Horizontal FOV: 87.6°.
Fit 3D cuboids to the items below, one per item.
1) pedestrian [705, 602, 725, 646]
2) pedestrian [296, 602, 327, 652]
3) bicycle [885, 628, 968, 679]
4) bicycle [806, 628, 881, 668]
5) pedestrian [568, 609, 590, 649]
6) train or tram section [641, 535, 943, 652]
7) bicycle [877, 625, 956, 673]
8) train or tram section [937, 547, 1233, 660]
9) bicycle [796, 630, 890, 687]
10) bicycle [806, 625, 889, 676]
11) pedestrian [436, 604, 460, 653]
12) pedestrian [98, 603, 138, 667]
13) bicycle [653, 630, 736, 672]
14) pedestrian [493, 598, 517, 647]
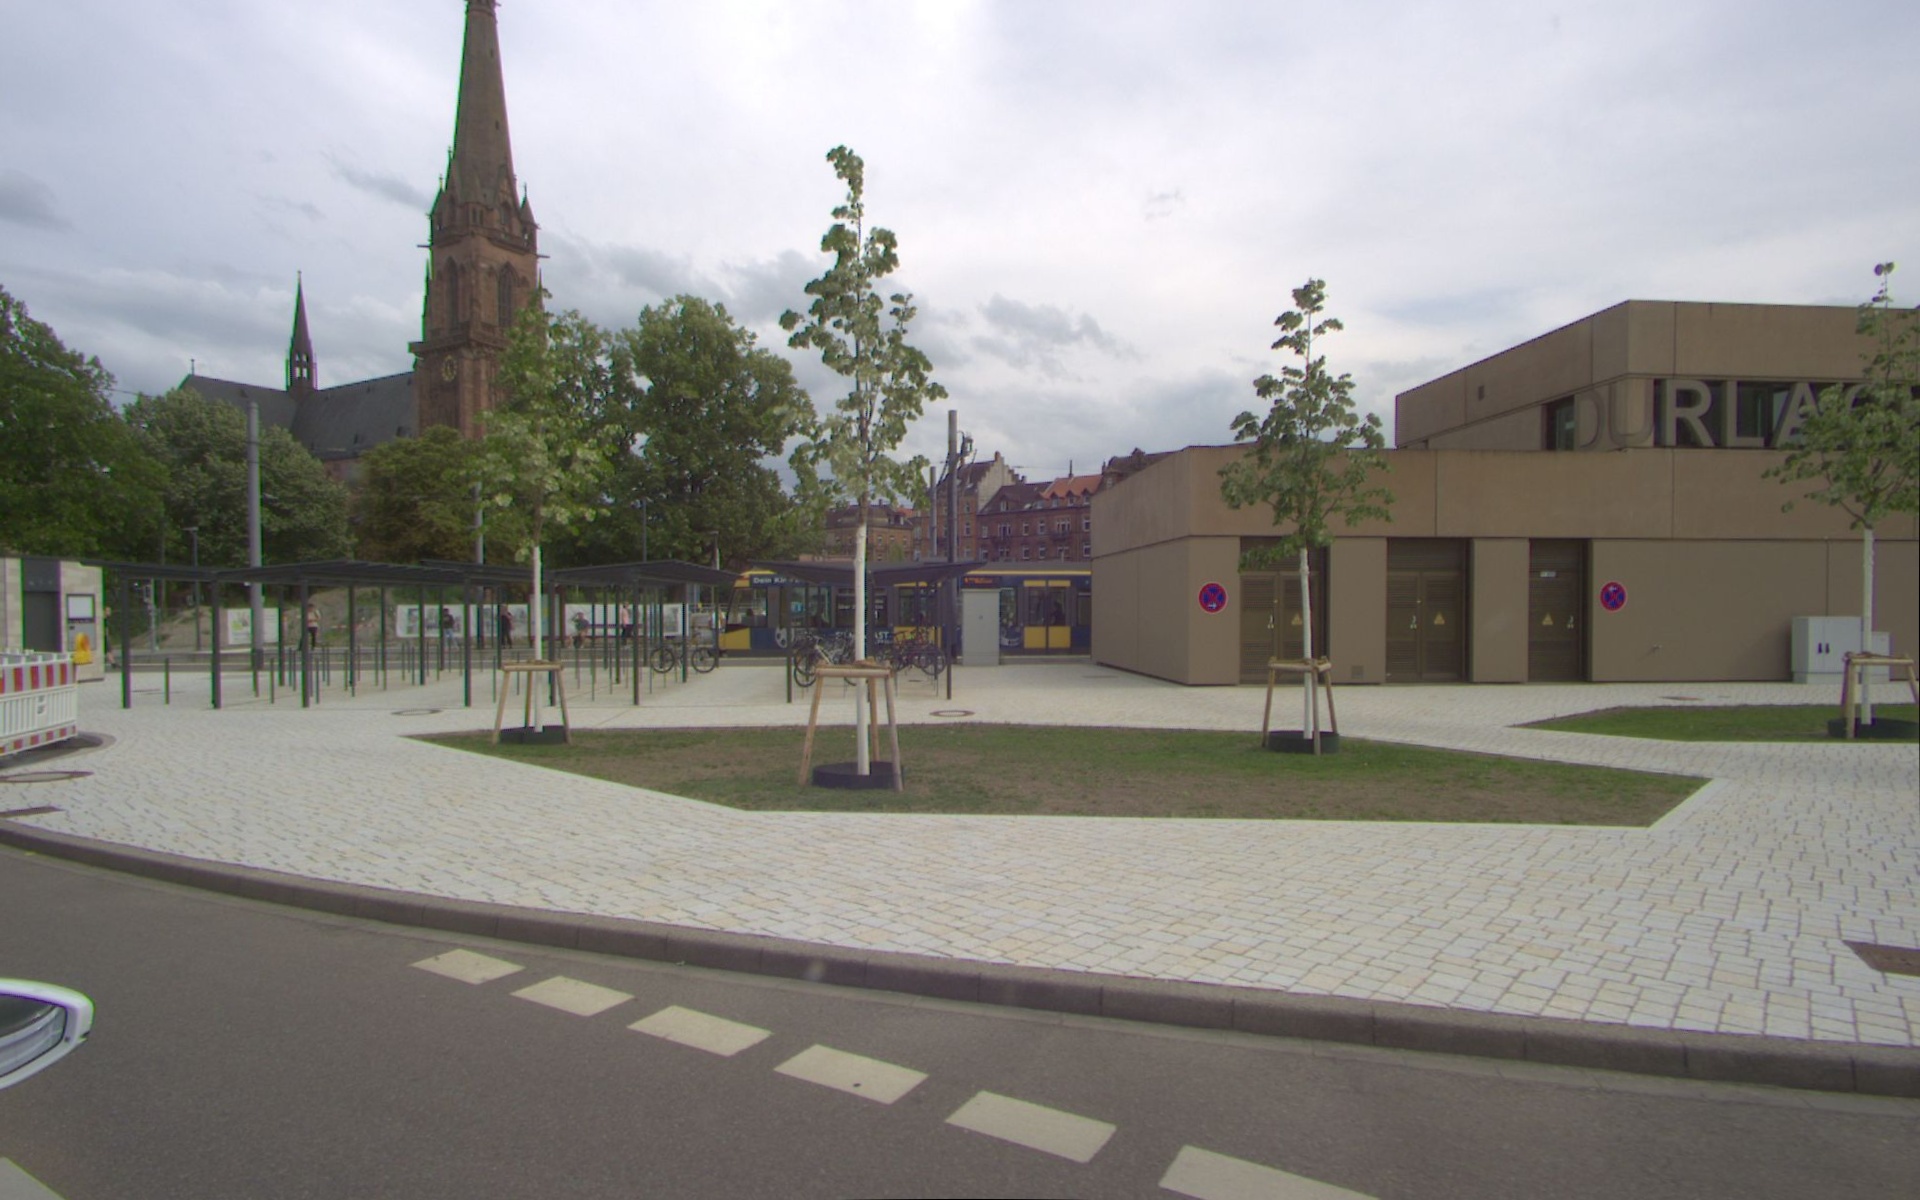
[{"bbox_3d":[-9.709,0.948,39.680,0.665,1.701,0.709,2,1,-11],"label":"pedestrian"},{"bbox_3d":[-24.415,1.007,37.695,0.743,1.825,0.817,3,2,42],"label":"pedestrian"},{"bbox_3d":[-0.820,1.295,24.430,1.931,1.172,0.583,2,1,-13],"label":"bicycle"},{"bbox_3d":[-3.116,1.291,26.749,1.929,0.983,0.583,2,1,-7],"label":"bicycle"},{"bbox_3d":[-14.617,1.101,38.419,0.665,1.505,0.689,2,1,-11],"label":"pedestrian"},{"bbox_3d":[-5.262,-0.198,32.552,9.189,3.321,3.061,2,1,-4],"label":"train or tram section"},{"bbox_3d":[-1.122,1.273,25.853,1.931,1.172,0.583,2,1,-13],"label":"bicycle"},{"bbox_3d":[3.981,0.119,33.281,9.248,3.256,3.061,2,1,-4],"label":"train or tram section"},{"bbox_3d":[-2.533,1.261,21.588,1.931,1.172,0.583,2,1,-13],"label":"bicycle"},{"bbox_3d":[-2.746,1.230,24.366,1.931,1.172,0.583,2,1,-13],"label":"bicycle"},{"bbox_3d":[-19.359,1.086,37.859,0.665,1.825,0.522,2,1,-11],"label":"pedestrian"},{"bbox_3d":[-22.585,0.941,26.874,0.618,1.677,0.531,2,1,-5],"label":"pedestrian"},{"bbox_3d":[-6.657,1.280,25.158,1.929,0.968,0.583,2,1,-7],"label":"bicycle"},{"bbox_3d":[-17.296,0.858,38.065,0.665,1.825,0.522,2,1,-11],"label":"pedestrian"}]
